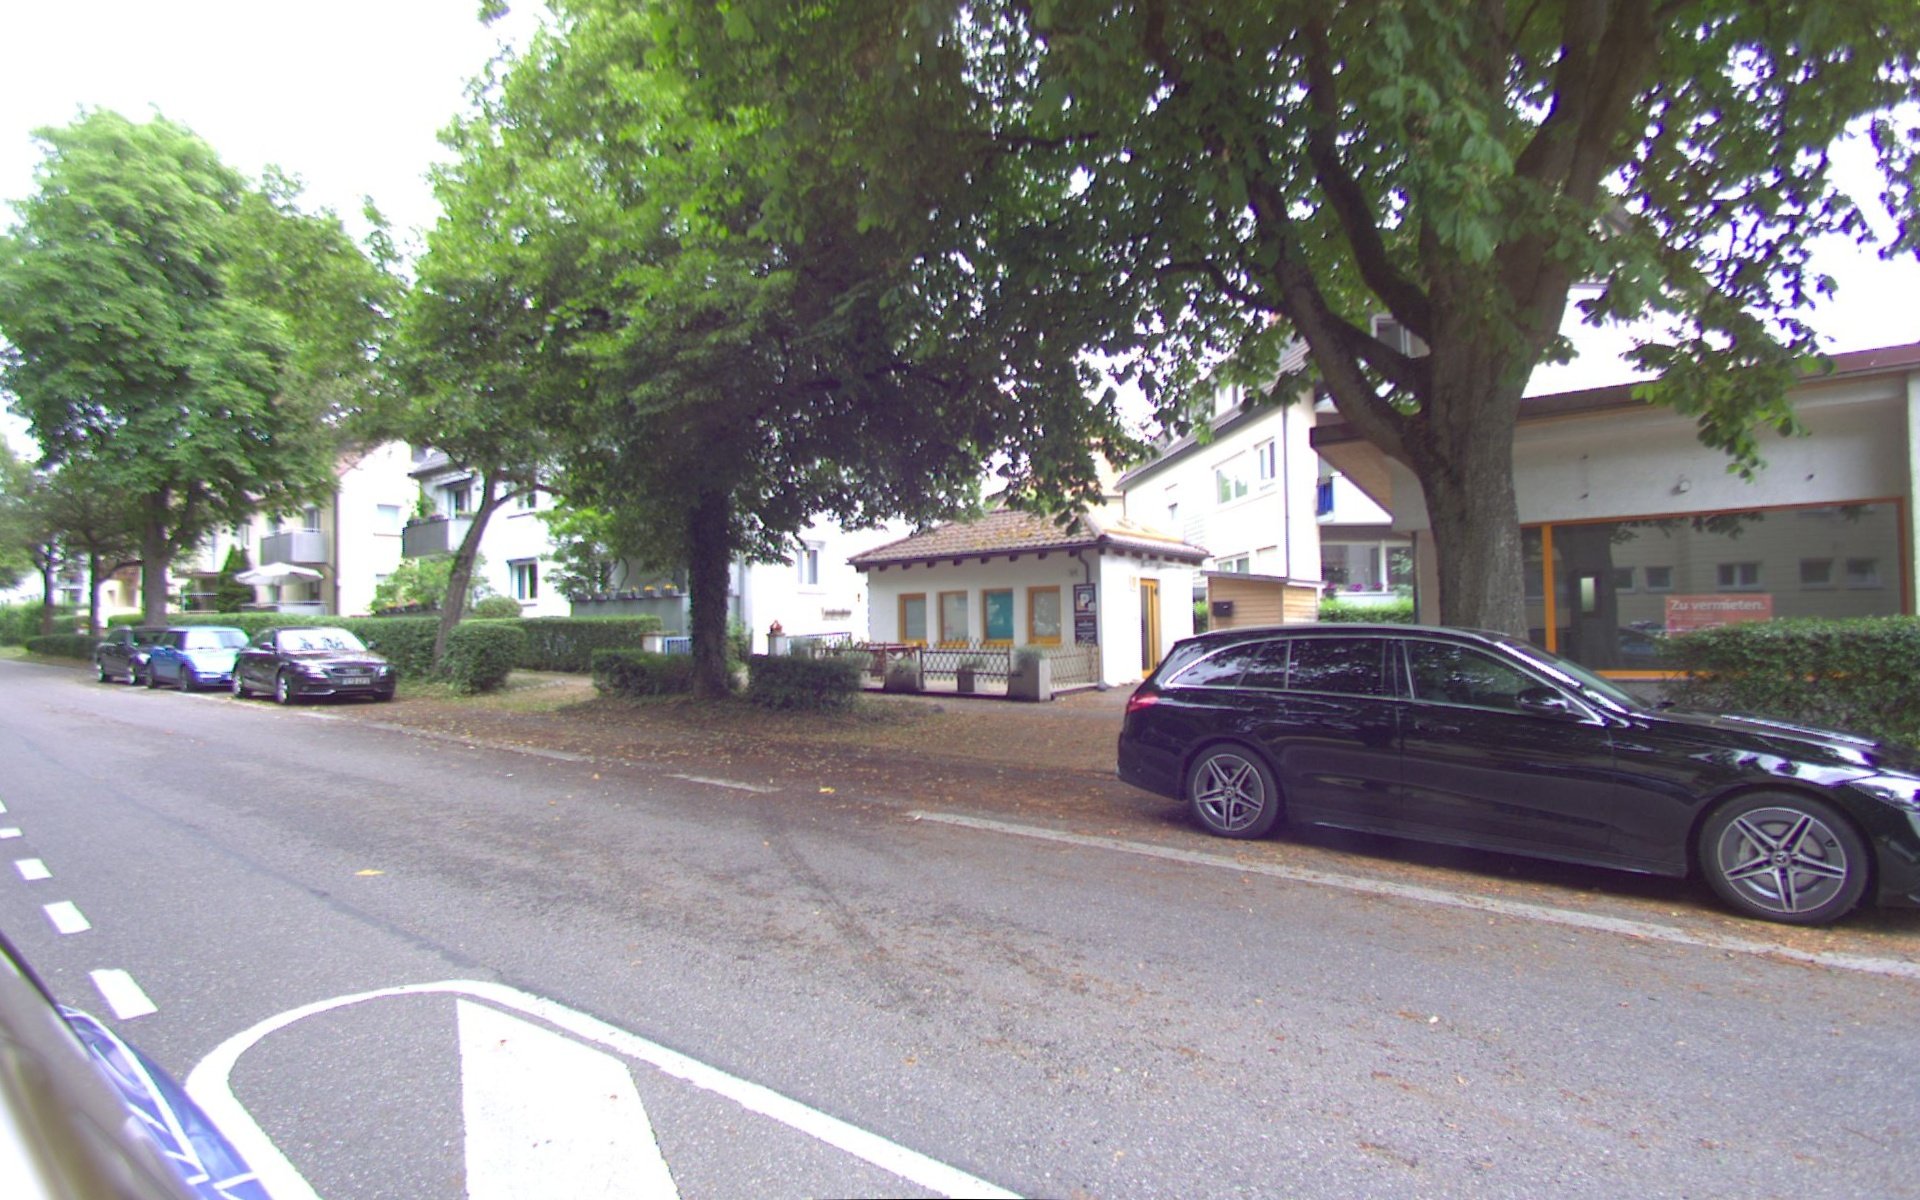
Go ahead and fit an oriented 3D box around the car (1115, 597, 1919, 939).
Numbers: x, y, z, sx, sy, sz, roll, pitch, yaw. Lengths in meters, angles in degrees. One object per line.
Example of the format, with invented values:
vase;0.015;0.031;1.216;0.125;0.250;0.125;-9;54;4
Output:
car;3.487;0.818;6.469;4.612;1.511;1.973;-2;-3;41

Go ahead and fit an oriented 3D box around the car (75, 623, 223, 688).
car;-20.828;1.380;25.926;4.558;1.545;1.866;-2;-3;37

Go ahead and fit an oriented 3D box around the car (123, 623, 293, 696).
car;-17.116;1.302;22.963;4.558;1.512;1.866;-2;-3;37

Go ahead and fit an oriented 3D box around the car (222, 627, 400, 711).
car;-12.393;1.242;19.234;4.169;1.414;1.713;-2;-3;41
